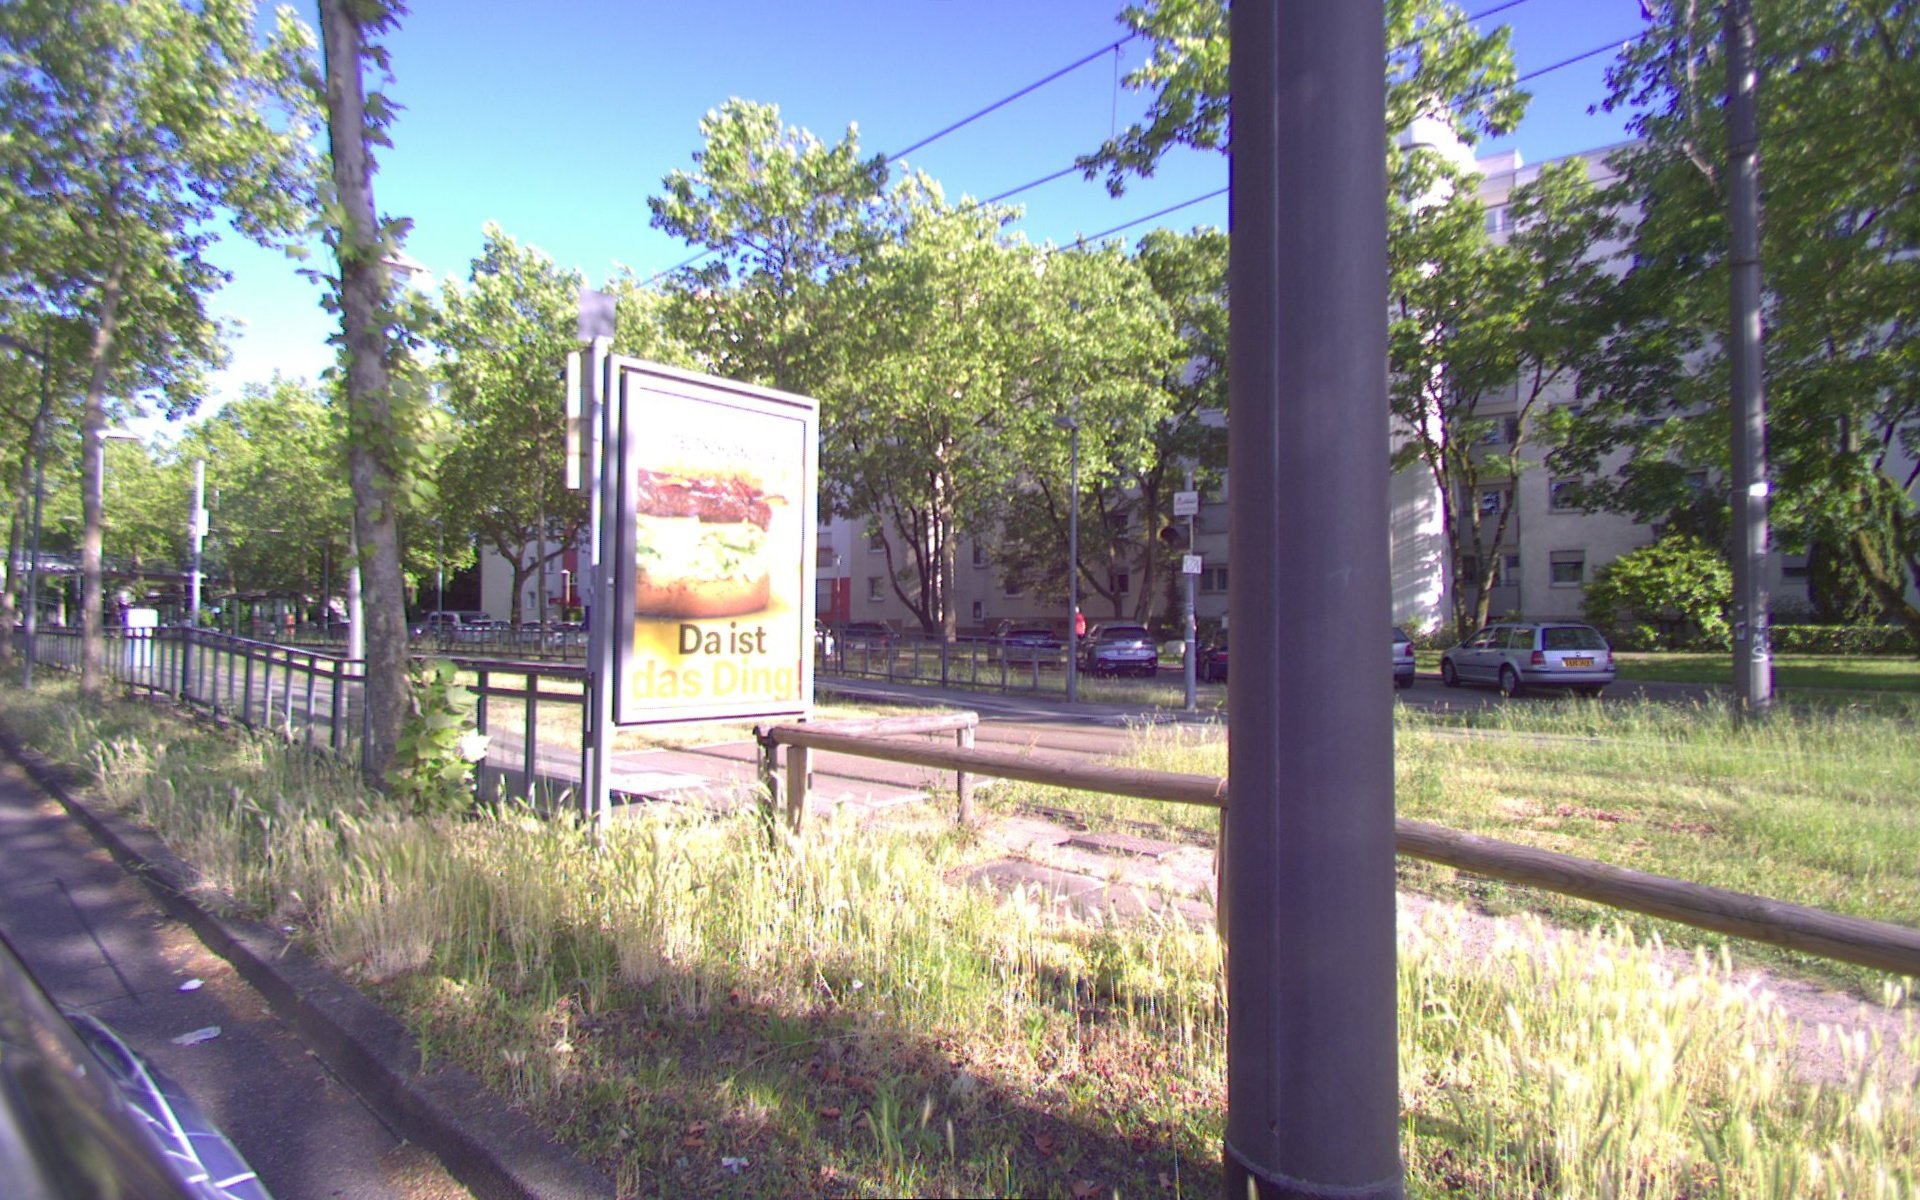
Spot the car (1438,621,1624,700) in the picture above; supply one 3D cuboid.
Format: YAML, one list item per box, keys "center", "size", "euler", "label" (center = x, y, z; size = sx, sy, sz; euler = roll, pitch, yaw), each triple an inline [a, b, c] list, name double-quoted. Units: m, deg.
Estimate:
- center: [11.482, 1.161, 20.663]
  size: [1.559, 1.413, 3.906]
  euler: [-1, -1, 0]
  label: "car"

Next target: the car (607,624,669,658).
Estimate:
- center: [-14.055, 1.766, 44.334]
  size: [1.633, 1.366, 3.805]
  euler: [-1, -1, -2]
  label: "car"

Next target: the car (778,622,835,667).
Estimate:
- center: [-5.558, 1.570, 37.016]
  size: [1.633, 1.522, 3.805]
  euler: [-1, -1, -2]
  label: "car"

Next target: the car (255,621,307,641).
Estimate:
- center: [-53.044, 2.403, 79.149]
  size: [1.633, 1.452, 3.805]
  euler: [-1, -1, -2]
  label: "car"

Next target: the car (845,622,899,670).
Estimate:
- center: [-2.968, 1.527, 34.647]
  size: [1.633, 1.522, 3.805]
  euler: [-1, -1, -2]
  label: "car"

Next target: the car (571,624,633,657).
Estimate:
- center: [-16.619, 1.856, 47.156]
  size: [1.633, 1.452, 3.805]
  euler: [-1, -1, -2]
  label: "car"

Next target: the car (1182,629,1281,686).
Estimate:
- center: [6.683, 1.378, 25.275]
  size: [1.445, 1.234, 3.815]
  euler: [-1, -1, 0]
  label: "car"

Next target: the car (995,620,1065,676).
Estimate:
- center: [1.991, 1.355, 29.665]
  size: [1.633, 1.522, 3.805]
  euler: [-1, -1, -2]
  label: "car"

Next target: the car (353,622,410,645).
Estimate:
- center: [-37.878, 2.174, 66.375]
  size: [1.633, 1.452, 3.805]
  euler: [-1, -1, -2]
  label: "car"

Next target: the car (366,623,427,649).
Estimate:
- center: [-33.687, 2.115, 60.599]
  size: [1.633, 1.452, 3.805]
  euler: [-1, -1, -2]
  label: "car"

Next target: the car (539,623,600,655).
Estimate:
- center: [-19.038, 1.898, 49.537]
  size: [1.633, 1.452, 3.805]
  euler: [-1, -1, -2]
  label: "car"

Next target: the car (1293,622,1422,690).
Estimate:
- center: [9.151, 1.239, 23.589]
  size: [1.559, 1.413, 3.638]
  euler: [-1, -1, 0]
  label: "car"

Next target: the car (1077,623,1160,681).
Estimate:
- center: [4.226, 1.365, 27.517]
  size: [1.633, 1.413, 3.803]
  euler: [-1, -1, 0]
  label: "car"

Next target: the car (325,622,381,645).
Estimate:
- center: [-40.831, 2.228, 68.188]
  size: [1.633, 1.452, 3.805]
  euler: [-1, -1, -2]
  label: "car"

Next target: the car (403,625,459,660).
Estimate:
- center: [-25.033, 1.990, 47.870]
  size: [2.817, 1.569, 1.558]
  euler: [-2, -1, 44]
  label: "car"

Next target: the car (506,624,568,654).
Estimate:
- center: [-21.330, 1.941, 51.181]
  size: [1.633, 1.452, 3.805]
  euler: [-1, -1, -2]
  label: "car"

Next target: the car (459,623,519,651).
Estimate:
- center: [-25.864, 2.001, 55.657]
  size: [1.633, 1.452, 3.805]
  euler: [-1, -1, -2]
  label: "car"

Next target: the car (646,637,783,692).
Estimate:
- center: [-7.611, 1.931, 31.164]
  size: [4.637, 1.522, 1.635]
  euler: [-1, -1, 39]
  label: "car"

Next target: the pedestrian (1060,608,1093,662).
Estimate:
- center: [3.859, 1.148, 33.390]
  size: [0.786, 1.745, 0.755]
  euler: [-1, 0, 39]
  label: "pedestrian"

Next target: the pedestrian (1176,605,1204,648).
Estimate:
- center: [8.811, 1.003, 38.824]
  size: [0.786, 1.635, 0.755]
  euler: [-1, 0, 39]
  label: "pedestrian"

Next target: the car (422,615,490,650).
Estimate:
- center: [-28.446, 1.826, 57.251]
  size: [1.814, 1.888, 4.323]
  euler: [-1, -1, -2]
  label: "car"

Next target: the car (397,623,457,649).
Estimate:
- center: [-31.324, 2.084, 59.596]
  size: [1.633, 1.452, 3.805]
  euler: [-1, -1, -2]
  label: "car"

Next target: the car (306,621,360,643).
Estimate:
- center: [-44.972, 2.289, 72.677]
  size: [1.633, 1.452, 3.805]
  euler: [-1, -1, -2]
  label: "car"
